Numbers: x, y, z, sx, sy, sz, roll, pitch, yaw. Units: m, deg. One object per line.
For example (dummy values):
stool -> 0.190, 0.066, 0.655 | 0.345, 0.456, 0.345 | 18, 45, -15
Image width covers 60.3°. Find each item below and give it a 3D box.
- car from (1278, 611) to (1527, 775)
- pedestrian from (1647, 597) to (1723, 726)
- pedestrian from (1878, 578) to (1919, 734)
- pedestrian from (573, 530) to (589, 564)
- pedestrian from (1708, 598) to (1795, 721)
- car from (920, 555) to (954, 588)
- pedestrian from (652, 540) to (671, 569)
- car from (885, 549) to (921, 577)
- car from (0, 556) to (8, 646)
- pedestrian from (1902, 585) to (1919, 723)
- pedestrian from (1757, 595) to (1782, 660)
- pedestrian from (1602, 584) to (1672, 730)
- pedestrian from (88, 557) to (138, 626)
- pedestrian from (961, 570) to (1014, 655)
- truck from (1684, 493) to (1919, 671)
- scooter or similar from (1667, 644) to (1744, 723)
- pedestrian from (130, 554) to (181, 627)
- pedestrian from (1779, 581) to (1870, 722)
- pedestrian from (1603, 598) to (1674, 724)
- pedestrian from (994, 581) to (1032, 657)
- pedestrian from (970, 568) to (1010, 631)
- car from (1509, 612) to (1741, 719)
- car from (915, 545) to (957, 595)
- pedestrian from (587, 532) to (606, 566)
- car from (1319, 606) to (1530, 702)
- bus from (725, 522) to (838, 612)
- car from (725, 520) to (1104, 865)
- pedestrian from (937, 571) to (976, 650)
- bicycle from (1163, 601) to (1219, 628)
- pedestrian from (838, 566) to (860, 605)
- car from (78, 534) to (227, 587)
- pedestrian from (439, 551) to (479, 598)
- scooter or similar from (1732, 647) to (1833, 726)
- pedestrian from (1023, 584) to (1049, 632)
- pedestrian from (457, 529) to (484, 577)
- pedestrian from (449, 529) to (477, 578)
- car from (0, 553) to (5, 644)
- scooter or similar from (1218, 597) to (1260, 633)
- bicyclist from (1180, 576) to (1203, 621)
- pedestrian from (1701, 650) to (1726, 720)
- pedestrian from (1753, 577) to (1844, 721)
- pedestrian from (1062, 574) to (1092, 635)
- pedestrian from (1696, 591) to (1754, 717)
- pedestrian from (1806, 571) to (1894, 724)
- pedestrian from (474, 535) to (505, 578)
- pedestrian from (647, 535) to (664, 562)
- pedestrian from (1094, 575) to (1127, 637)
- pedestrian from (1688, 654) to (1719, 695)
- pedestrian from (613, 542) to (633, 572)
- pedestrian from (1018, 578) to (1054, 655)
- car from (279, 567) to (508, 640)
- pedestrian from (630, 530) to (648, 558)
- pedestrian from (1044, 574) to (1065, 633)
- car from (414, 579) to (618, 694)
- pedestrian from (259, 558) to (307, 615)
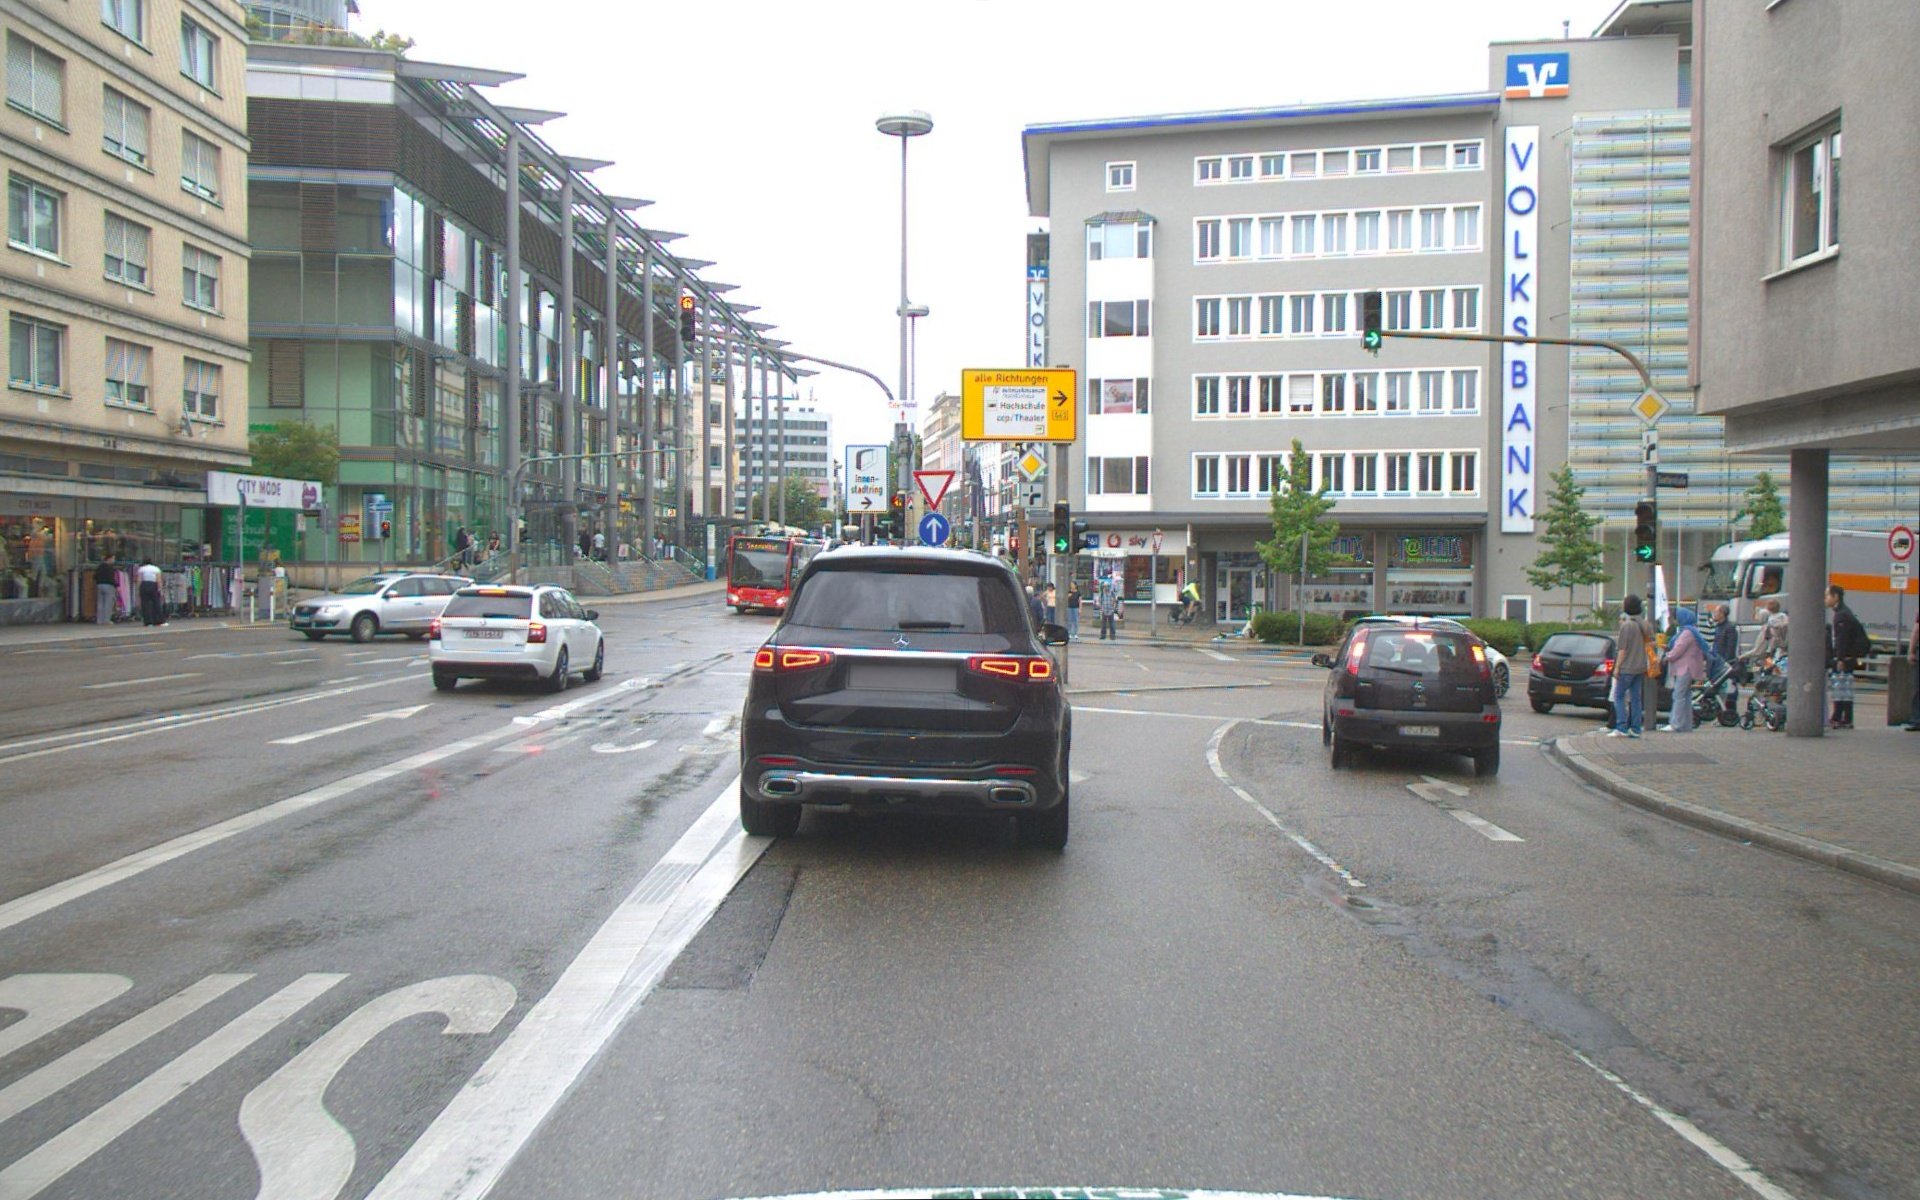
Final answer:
car -> 4.461, 0.869, 17.210 | 1.681, 1.445, 3.771 | 2, 0, 2
pedestrian -> 9.611, 0.823, 21.924 | 0.732, 1.664, 0.593 | -4, -4, 41
pedestrian -> 12.046, 0.702, 20.549 | 0.654, 1.898, 0.833 | 2, 1, -21
pedestrian -> -19.751, -2.780, 86.236 | 0.667, 1.742, 0.849 | 2, 0, -6
pedestrian -> 11.533, 0.854, 24.128 | 1.013, 1.753, 0.839 | -1, 0, 16
car -> -1.425, -1.730, 99.381 | 1.824, 1.857, 4.102 | 3, 1, -3
pedestrian -> -18.424, -2.793, 102.241 | 1.019, 1.742, 1.006 | 2, 0, -6
car -> -3.969, -2.585, 115.897 | 2.373, 1.811, 5.154 | 3, 1, -1
car -> -17.679, 0.039, 26.937 | 1.810, 1.577, 4.400 | 3, 2, -1
pedestrian -> 11.875, 0.630, 19.820 | 0.603, 1.665, 0.838 | -3, -3, 4
pedestrian -> 11.010, 0.375, 22.502 | 0.215, 0.862, 0.441 | 3, 1, 20
pedestrian -> 8.193, 0.681, 20.009 | 0.615, 1.722, 0.779 | -1, -2, 35
pedestrian -> -19.696, -0.198, 38.466 | 0.769, 1.563, 0.681 | 2, 1, -3
pedestrian -> 0.581, 0.256, 34.526 | 0.957, 1.701, 0.916 | 3, 1, 5
truck -> 25.123, -0.405, 43.705 | 10.511, 4.409, 2.857 | 2, 1, 3
scooter or similar -> 10.953, 1.219, 24.327 | 0.949, 1.128, 0.655 | -1, -1, 19
pedestrian -> -18.699, -0.228, 38.432 | 0.839, 1.656, 0.762 | 2, 1, -44
pedestrian -> 10.881, 0.649, 20.835 | 0.818, 1.753, 0.618 | 0, -2, 8
pedestrian -> 9.275, 0.844, 22.635 | 0.528, 1.666, 0.838 | -2, -3, -1
pedestrian -> 1.088, 0.383, 33.637 | 0.690, 1.514, 0.560 | 3, -1, 4
pedestrian -> 0.885, -0.017, 48.923 | 0.990, 1.818, 0.852 | 2, 1, -7
car -> 11.532, 1.086, 28.600 | 3.957, 1.601, 1.931 | 1, 3, -37
car -> -1.555, -1.946, 105.938 | 2.395, 3.009, 6.150 | 3, 1, -3
pedestrian -> -18.996, -2.640, 86.419 | 0.811, 1.742, 0.801 | 2, 0, -6
car -> 8.925, 0.990, 31.671 | 3.960, 1.601, 1.930 | 1, 3, -39
bus -> -7.517, -1.363, 72.643 | 2.860, 3.378, 18.479 | 2, 1, 0
car -> -0.150, 0.442, 11.416 | 2.044, 1.848, 4.795 | 1, 1, 2
pedestrian -> -0.084, 0.235, 36.869 | 0.740, 1.721, 0.694 | 3, -1, 4
bicycle -> 9.083, 0.576, 65.002 | 2.092, 1.010, 0.695 | 1, 0, 14
pedestrian -> -5.667, -0.732, 84.655 | 0.934, 1.919, 0.811 | 3, 1, 6
car -> -27.801, -1.350, 57.078 | 4.206, 1.573, 1.801 | 3, 1, -11
pedestrian -> -19.360, -0.983, 63.904 | 1.019, 1.742, 1.006 | 2, 1, 27
scooter or similar -> 10.767, 1.125, 21.683 | 0.754, 1.003, 1.048 | 0, -3, -1
pedestrian -> 2.219, 0.236, 48.550 | 0.618, 1.362, 0.587 | 2, 1, -6
pedestrian -> -21.156, -2.032, 71.444 | 0.857, 2.015, 0.850 | 2, 0, -1
pedestrian -> -21.176, -1.974, 70.503 | 0.863, 2.015, 0.974 | 2, 0, -1
car -> -17.631, -0.022, 26.884 | 1.665, 1.590, 4.203 | 2, 1, 1
scooter or similar -> 9.786, 0.524, 58.007 | 1.351, 1.207, 0.544 | 1, 0, 19
bicyclist -> 9.114, -0.069, 65.000 | 0.826, 1.734, 0.623 | 1, 0, 14
pedestrian -> 11.297, 1.265, 24.802 | 0.255, 1.017, 0.472 | -4, -2, 22
pedestrian -> 11.364, 0.668, 22.426 | 0.818, 1.898, 0.658 | -2, -3, 4
pedestrian -> 3.427, 0.125, 48.480 | 0.764, 1.718, 0.639 | 3, 1, 8
pedestrian -> 11.820, 0.848, 25.560 | 0.602, 1.900, 0.787 | -2, -4, 15
pedestrian -> 11.643, 0.609, 21.656 | 0.800, 1.965, 0.732 | 0, -1, 8
pedestrian -> -19.465, -1.779, 68.431 | 1.019, 1.742, 1.006 | 2, 0, -6
pedestrian -> -19.856, -3.351, 107.860 | 0.919, 1.742, 0.991 | 2, 0, -6
pedestrian -> 4.503, 0.166, 49.631 | 0.814, 1.809, 0.617 | 2, 1, -6
pedestrian -> 10.947, 1.092, 24.359 | 0.363, 0.581, 0.458 | -1, -1, 19
pedestrian -> -19.995, -2.572, 98.226 | 1.019, 1.742, 1.006 | 2, 0, -6
pedestrian -> 1.635, 0.350, 35.493 | 0.698, 1.595, 0.855 | 3, 0, 4
car -> -12.499, 0.077, 36.815 | 1.754, 1.471, 4.740 | 2, 1, 33
pedestrian -> -20.904, -3.631, 107.712 | 1.019, 1.742, 1.006 | 2, 0, -6
pedestrian -> 2.776, 0.099, 48.497 | 0.557, 1.698, 0.502 | 2, 0, 6
car -> -6.271, 0.448, 23.895 | 1.756, 1.440, 4.631 | 1, 1, -1
pedestrian -> -19.542, -0.398, 47.776 | 0.853, 1.614, 1.155 | 1, 0, 3
